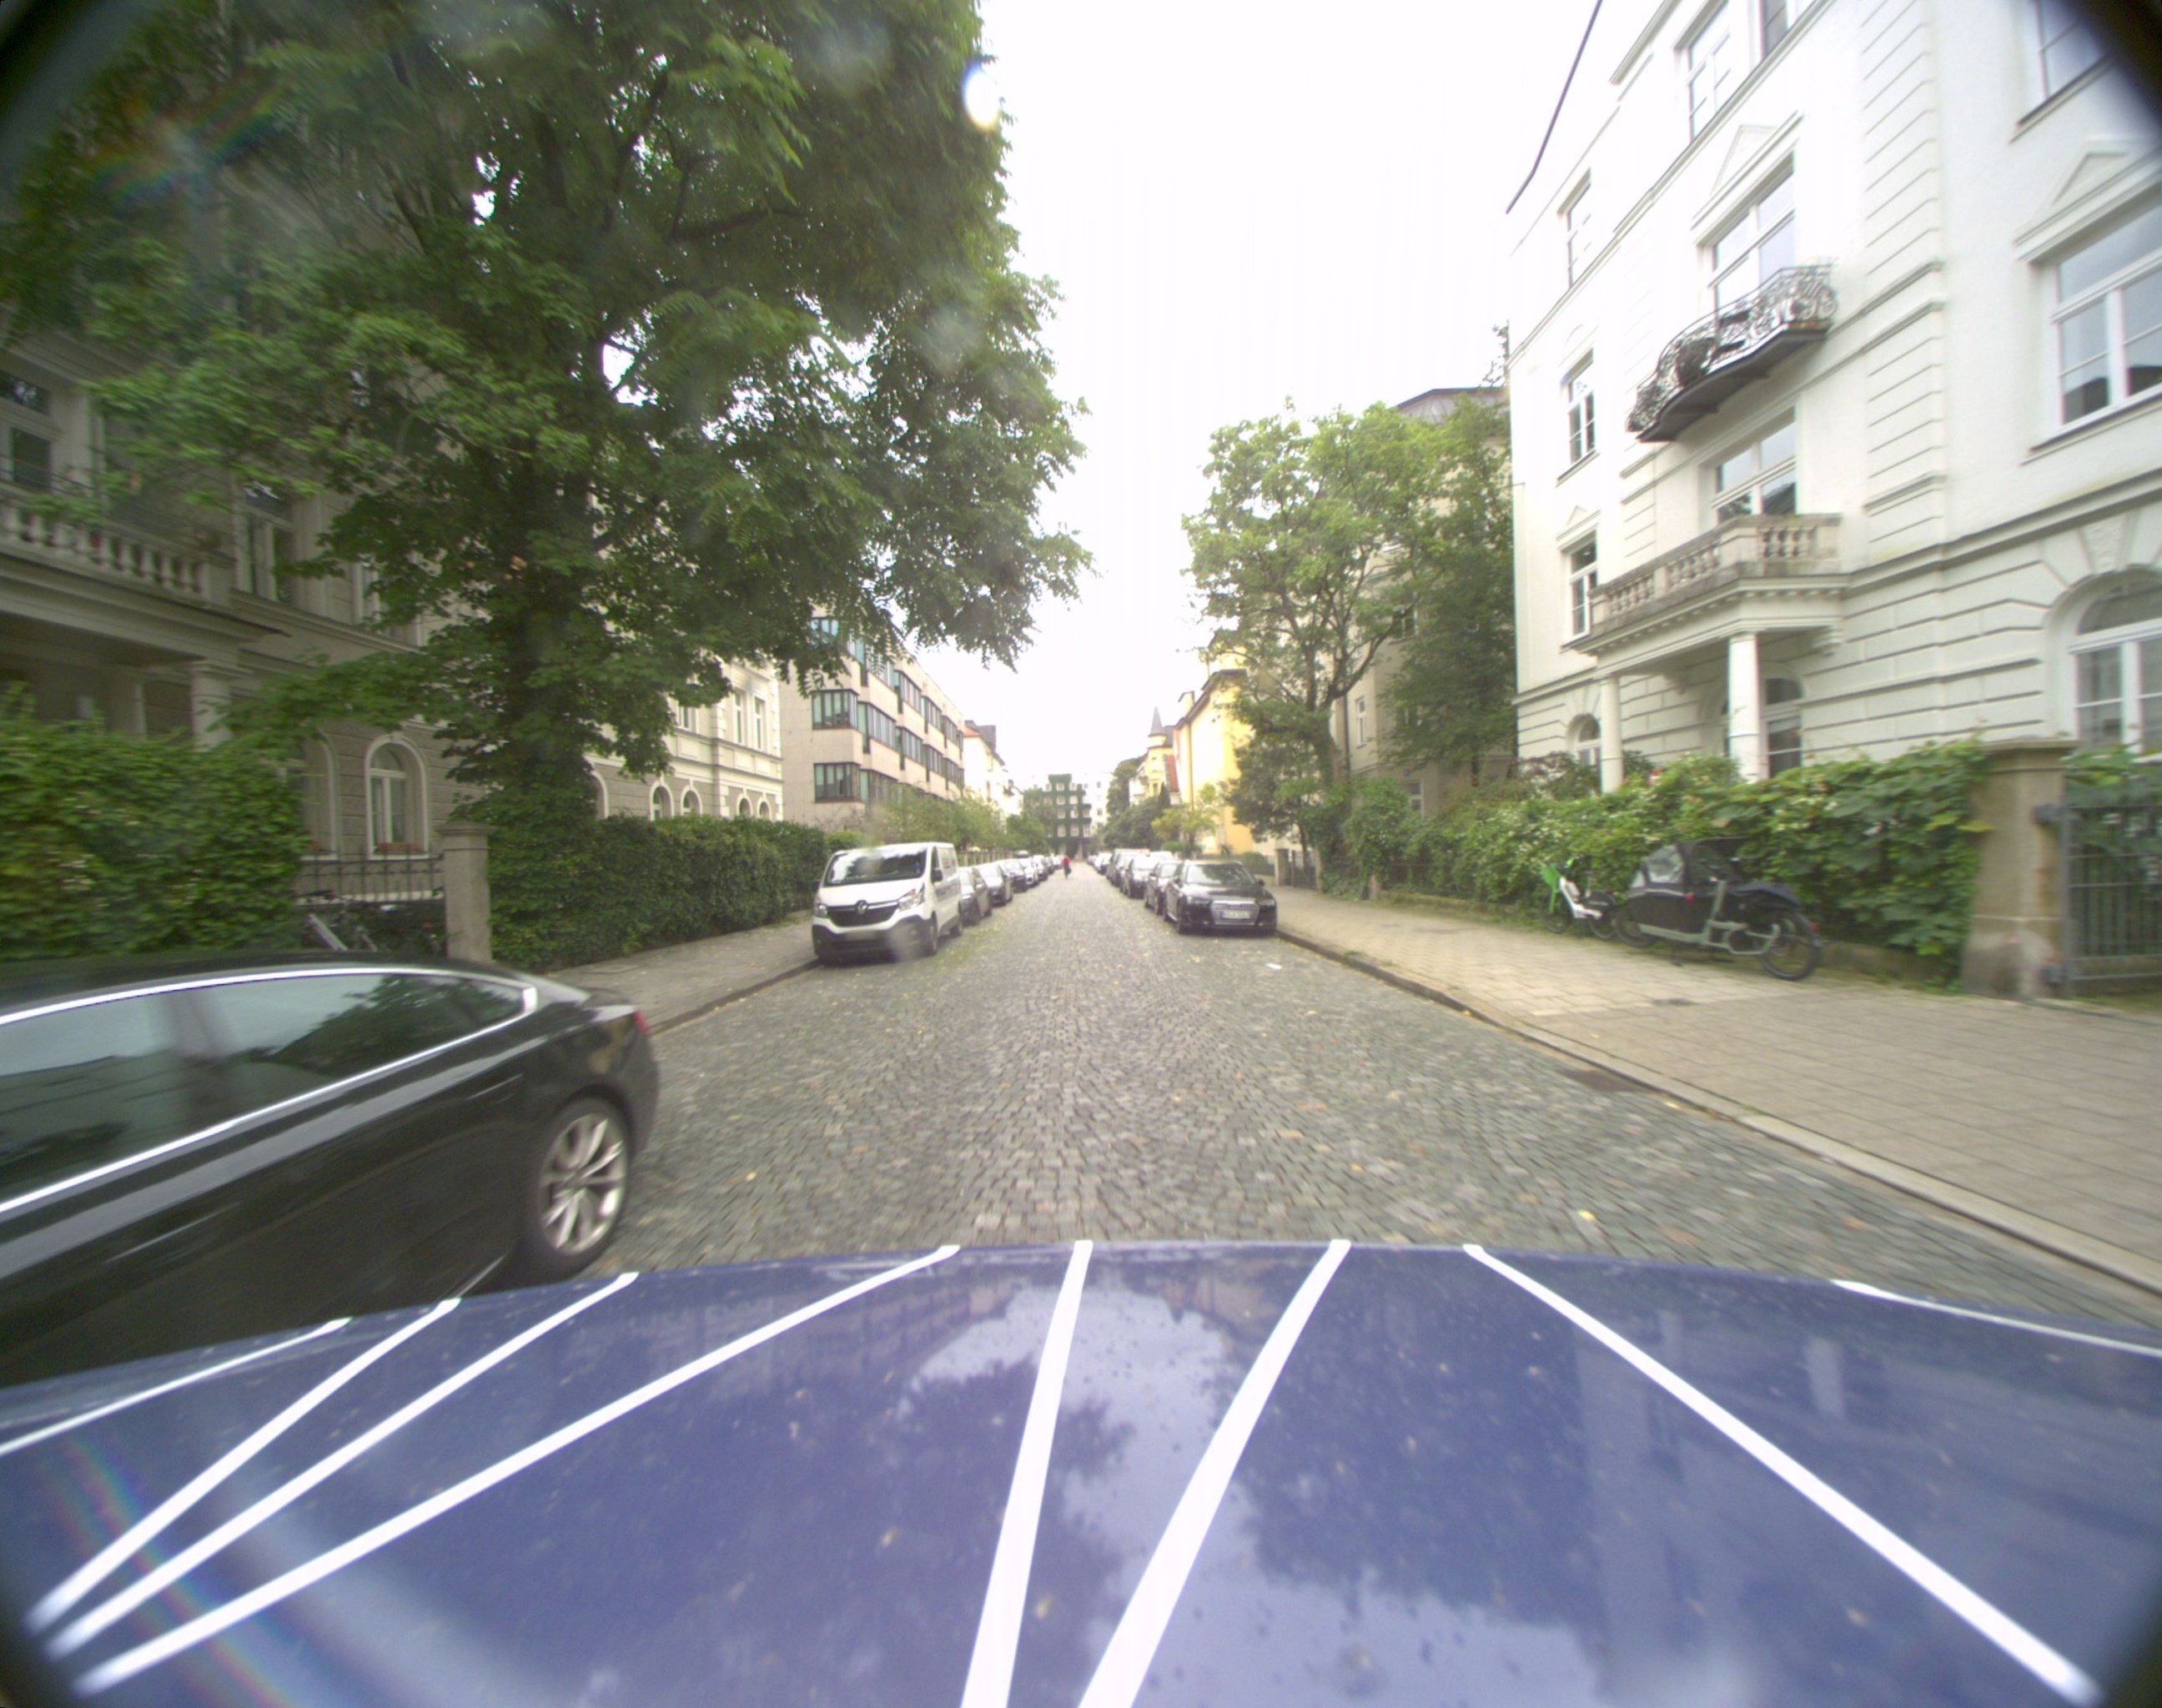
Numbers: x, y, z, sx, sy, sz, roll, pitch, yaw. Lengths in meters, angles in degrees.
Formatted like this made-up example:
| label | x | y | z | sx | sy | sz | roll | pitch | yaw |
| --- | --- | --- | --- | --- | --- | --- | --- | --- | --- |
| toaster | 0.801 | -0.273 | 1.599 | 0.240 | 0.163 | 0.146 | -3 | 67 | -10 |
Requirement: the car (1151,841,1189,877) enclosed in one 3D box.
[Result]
| label | x | y | z | sx | sy | sz | roll | pitch | yaw |
| --- | --- | --- | --- | --- | --- | --- | --- | --- | --- |
| car | 5.258 | 0.251 | 45.214 | 1.763 | 2.002 | 3.999 | -2 | 1 | 1 |

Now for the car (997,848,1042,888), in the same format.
| label | x | y | z | sx | sy | sz | roll | pitch | yaw |
| --- | --- | --- | --- | --- | --- | --- | --- | --- | --- |
| car | -3.253 | 0.702 | 41.016 | 1.998 | 2.002 | 3.999 | -2 | 1 | 1 |

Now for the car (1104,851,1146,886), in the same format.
| label | x | y | z | sx | sy | sz | roll | pitch | yaw |
| --- | --- | --- | --- | --- | --- | --- | --- | --- | --- |
| car | 2.191 | 0.691 | 38.553 | 1.886 | 1.561 | 3.999 | -2 | 1 | 1 |

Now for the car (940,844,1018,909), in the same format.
| label | x | y | z | sx | sy | sz | roll | pitch | yaw |
| --- | --- | --- | --- | --- | --- | --- | --- | --- | --- |
| car | -3.405 | 0.700 | 26.148 | 1.998 | 2.002 | 3.999 | -2 | 1 | 1 |

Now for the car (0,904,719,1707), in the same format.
| label | x | y | z | sx | sy | sz | roll | pitch | yaw |
| --- | --- | --- | --- | --- | --- | --- | --- | --- | --- |
| car | -2.817 | 0.963 | 1.462 | 1.924 | 1.290 | 4.808 | -2 | 1 | -1 |

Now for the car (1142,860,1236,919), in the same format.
| label | x | y | z | sx | sy | sz | roll | pitch | yaw |
| --- | --- | --- | --- | --- | --- | --- | --- | --- | --- |
| car | 2.804 | 0.875 | 20.596 | 1.998 | 1.324 | 4.000 | -2 | 0 | 1 |

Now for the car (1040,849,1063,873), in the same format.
| label | x | y | z | sx | sy | sz | roll | pitch | yaw |
| --- | --- | --- | --- | --- | --- | --- | --- | --- | --- |
| car | -2.567 | 0.566 | 67.030 | 1.763 | 2.002 | 3.999 | -2 | 1 | 1 |

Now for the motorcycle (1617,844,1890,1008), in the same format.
| label | x | y | z | sx | sy | sz | roll | pitch | yaw |
| --- | --- | --- | --- | --- | --- | --- | --- | --- | --- |
| motorcycle | 6.784 | 0.634 | 7.887 | 0.738 | 1.420 | 2.245 | -3 | 1 | -3 |

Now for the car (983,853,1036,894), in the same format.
| label | x | y | z | sx | sy | sz | roll | pitch | yaw |
| --- | --- | --- | --- | --- | --- | --- | --- | --- | --- |
| car | -3.337 | 0.881 | 36.170 | 1.998 | 1.705 | 3.999 | -2 | 1 | 1 |

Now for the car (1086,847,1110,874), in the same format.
| label | x | y | z | sx | sy | sz | roll | pitch | yaw |
| --- | --- | --- | --- | --- | --- | --- | --- | --- | --- |
| car | 1.332 | 0.459 | 60.129 | 1.763 | 2.002 | 3.999 | -2 | 1 | 1 |

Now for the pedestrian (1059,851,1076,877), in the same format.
| label | x | y | z | sx | sy | sz | roll | pitch | yaw |
| --- | --- | --- | --- | --- | --- | --- | --- | --- | --- |
| pedestrian | -0.957 | 0.691 | 53.913 | 1.105 | 1.768 | 1.263 | -2 | 1 | 1 |

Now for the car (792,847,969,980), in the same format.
| label | x | y | z | sx | sy | sz | roll | pitch | yaw |
| --- | --- | --- | --- | --- | --- | --- | --- | --- | --- |
| car | -3.322 | 0.863 | 13.694 | 1.819 | 1.809 | 4.808 | -6 | 1 | -1 |

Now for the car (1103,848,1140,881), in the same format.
| label | x | y | z | sx | sy | sz | roll | pitch | yaw |
| --- | --- | --- | --- | --- | --- | --- | --- | --- | --- |
| car | 2.390 | 0.585 | 45.533 | 1.998 | 1.789 | 3.999 | -2 | 1 | 1 |

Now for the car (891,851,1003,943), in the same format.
| label | x | y | z | sx | sy | sz | roll | pitch | yaw |
| --- | --- | --- | --- | --- | --- | --- | --- | --- | --- |
| car | -3.235 | 0.968 | 19.173 | 1.998 | 2.002 | 3.999 | -2 | 1 | 1 |

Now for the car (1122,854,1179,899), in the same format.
| label | x | y | z | sx | sy | sz | roll | pitch | yaw |
| --- | --- | --- | --- | --- | --- | --- | --- | --- | --- |
| car | 2.487 | 0.772 | 27.998 | 1.714 | 1.416 | 3.999 | -2 | 1 | 1 |

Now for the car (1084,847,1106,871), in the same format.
| label | x | y | z | sx | sy | sz | roll | pitch | yaw |
| --- | --- | --- | --- | --- | --- | --- | --- | --- | --- |
| car | 1.256 | 0.427 | 68.303 | 1.791 | 2.002 | 3.214 | -2 | 1 | 1 |

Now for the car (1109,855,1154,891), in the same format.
| label | x | y | z | sx | sy | sz | roll | pitch | yaw |
| --- | --- | --- | --- | --- | --- | --- | --- | --- | --- |
| car | 2.104 | 0.778 | 32.735 | 1.681 | 1.369 | 3.999 | -2 | 1 | 1 |

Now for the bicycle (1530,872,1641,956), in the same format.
| label | x | y | z | sx | sy | sz | roll | pitch | yaw |
| --- | --- | --- | --- | --- | --- | --- | --- | --- | --- |
| bicycle | 7.177 | 0.813 | 10.906 | 0.357 | 1.044 | 1.744 | -2 | 1 | -3 |

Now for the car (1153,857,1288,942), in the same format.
| label | x | y | z | sx | sy | sz | roll | pitch | yaw |
| --- | --- | --- | --- | --- | --- | --- | --- | --- | --- |
| car | 2.705 | 0.822 | 15.883 | 1.886 | 1.411 | 4.808 | 1 | 1 | -1 |
